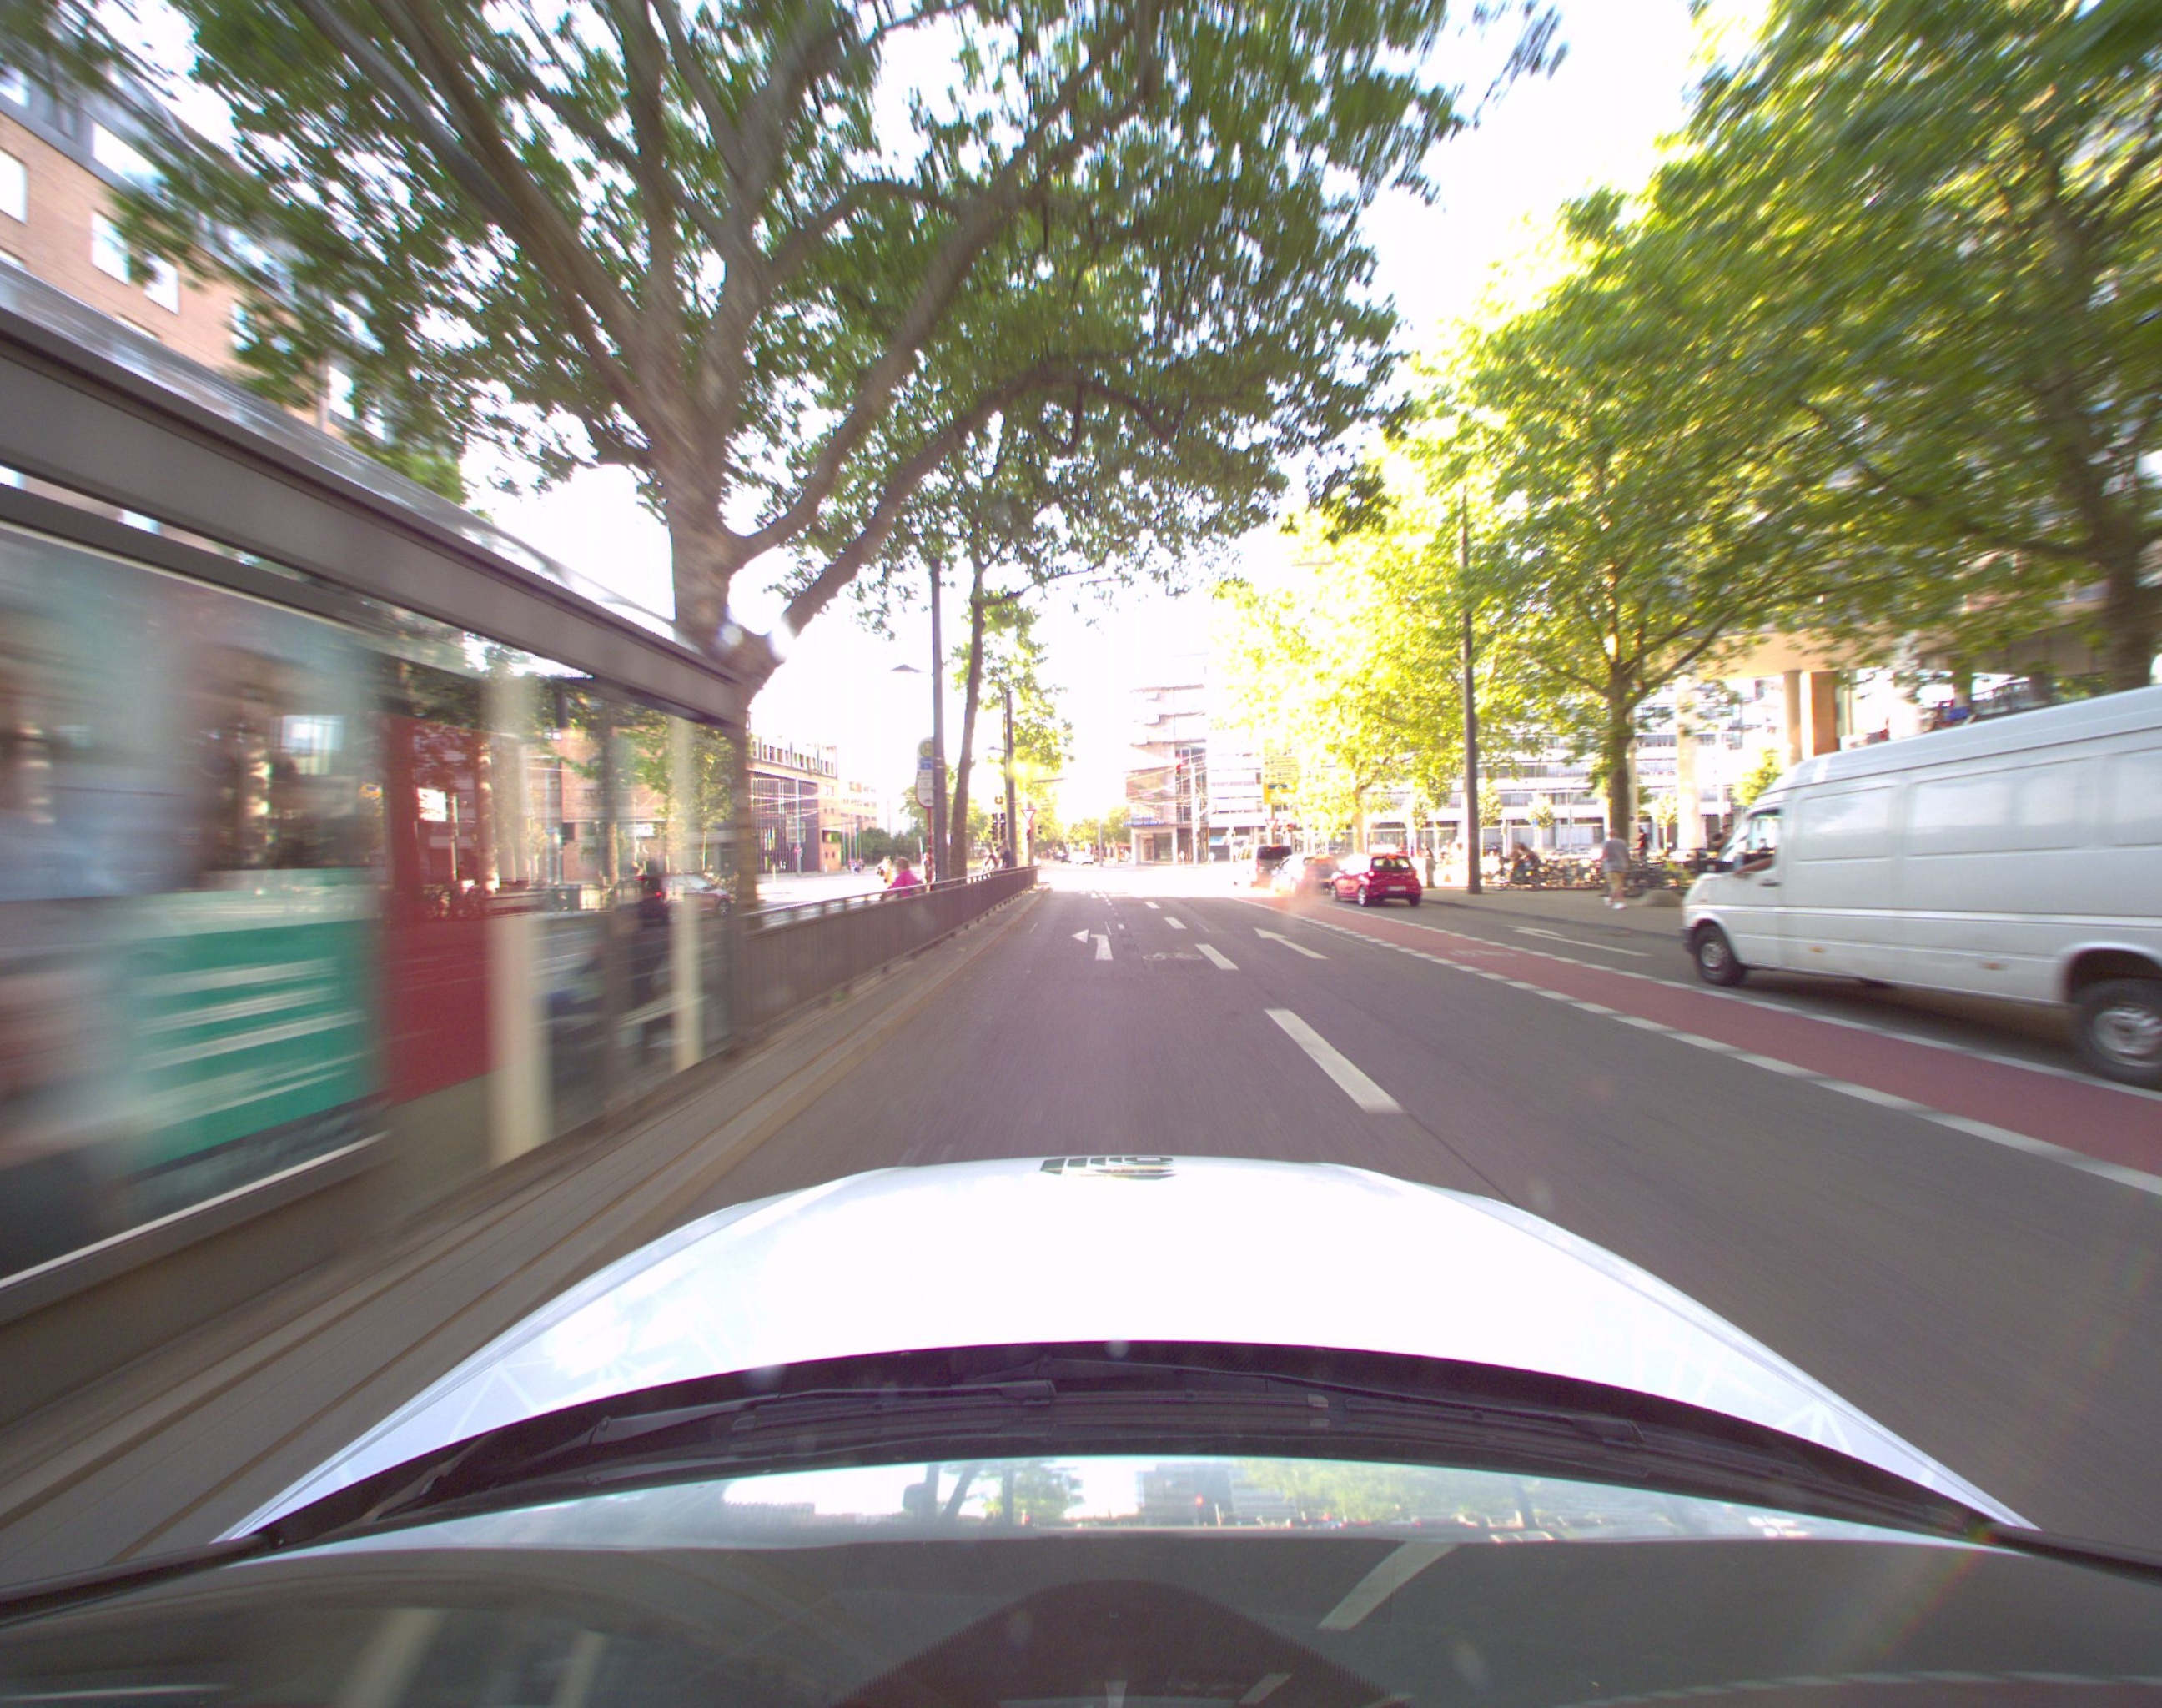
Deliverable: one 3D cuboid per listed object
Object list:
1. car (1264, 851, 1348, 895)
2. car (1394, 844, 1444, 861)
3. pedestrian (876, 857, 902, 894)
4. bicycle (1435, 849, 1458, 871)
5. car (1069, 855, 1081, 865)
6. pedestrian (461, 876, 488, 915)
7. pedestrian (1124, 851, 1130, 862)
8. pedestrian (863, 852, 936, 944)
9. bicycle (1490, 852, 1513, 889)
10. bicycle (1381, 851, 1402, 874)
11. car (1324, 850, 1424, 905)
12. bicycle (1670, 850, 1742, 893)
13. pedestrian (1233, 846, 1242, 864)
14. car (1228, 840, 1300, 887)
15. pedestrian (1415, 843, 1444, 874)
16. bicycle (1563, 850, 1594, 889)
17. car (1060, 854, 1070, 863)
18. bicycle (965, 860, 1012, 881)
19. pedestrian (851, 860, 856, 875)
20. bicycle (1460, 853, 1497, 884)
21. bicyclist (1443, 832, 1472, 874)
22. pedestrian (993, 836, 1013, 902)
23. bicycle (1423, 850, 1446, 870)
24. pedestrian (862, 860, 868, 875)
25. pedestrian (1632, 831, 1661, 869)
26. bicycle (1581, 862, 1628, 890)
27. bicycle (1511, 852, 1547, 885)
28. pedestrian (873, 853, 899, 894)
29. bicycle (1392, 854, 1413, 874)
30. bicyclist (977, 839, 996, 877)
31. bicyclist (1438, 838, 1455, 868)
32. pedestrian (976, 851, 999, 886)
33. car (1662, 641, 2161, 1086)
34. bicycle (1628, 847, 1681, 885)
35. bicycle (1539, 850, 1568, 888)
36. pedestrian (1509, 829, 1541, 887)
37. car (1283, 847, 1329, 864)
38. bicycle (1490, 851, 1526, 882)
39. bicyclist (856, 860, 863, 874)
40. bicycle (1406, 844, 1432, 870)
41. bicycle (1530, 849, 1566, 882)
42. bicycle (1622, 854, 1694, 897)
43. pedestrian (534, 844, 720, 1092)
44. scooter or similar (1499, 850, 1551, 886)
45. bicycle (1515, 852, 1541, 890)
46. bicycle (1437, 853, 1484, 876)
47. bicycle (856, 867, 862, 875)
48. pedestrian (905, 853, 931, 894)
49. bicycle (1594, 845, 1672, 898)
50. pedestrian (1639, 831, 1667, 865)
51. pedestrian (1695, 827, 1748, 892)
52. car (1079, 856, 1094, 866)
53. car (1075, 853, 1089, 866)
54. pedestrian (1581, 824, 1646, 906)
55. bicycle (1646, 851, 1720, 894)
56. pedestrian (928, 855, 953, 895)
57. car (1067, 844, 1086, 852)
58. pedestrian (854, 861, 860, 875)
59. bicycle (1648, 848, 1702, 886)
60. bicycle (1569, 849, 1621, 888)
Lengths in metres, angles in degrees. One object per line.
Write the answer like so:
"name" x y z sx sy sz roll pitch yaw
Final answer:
"car" 8.254 0.671 30.202 1.760 1.464 4.213 -2 0 -2
"car" 33.716 -0.148 81.295 4.221 1.560 1.798 -2 0 4
"pedestrian" -8.842 0.979 37.480 1.072 1.682 0.755 0 -1 -9
"bicycle" 20.074 0.317 44.726 0.563 1.126 1.781 -2 0 5
"car" -1.076 0.956 139.781 1.988 1.662 3.997 -2 0 -2
"pedestrian" -25.556 1.743 34.332 0.588 1.584 0.724 1 -1 -3
"pedestrian" 6.399 0.383 113.918 0.737 1.465 0.536 -2 0 -3
"pedestrian" -2.845 0.679 12.854 0.972 1.400 0.665 0 -1 3
"bicycle" 13.448 0.504 26.073 0.590 1.116 1.837 -2 0 26
"bicycle" 15.983 0.434 41.962 0.449 1.144 1.475 -2 0 -3
"car" 8.454 0.648 23.793 1.554 1.464 3.619 -1 0 -2
"bicycle" 15.810 0.439 20.648 0.500 1.032 1.654 -2 0 -1
"pedestrian" 14.993 0.104 77.976 0.716 1.682 0.558 0 -1 5
"car" 8.164 0.420 36.815 1.988 1.966 5.135 0 0 -1
"pedestrian" 20.510 0.249 47.990 1.207 1.822 1.039 0 -1 -7
"bicycle" 15.102 0.447 24.741 0.601 1.116 1.837 -2 0 26
"car" -3.152 0.965 161.474 1.988 1.662 3.997 -2 0 -2
"bicycle" -4.440 0.797 39.106 2.175 0.933 0.666 -1 0 -7
"pedestrian" -25.836 1.557 92.450 0.538 1.650 0.621 -2 0 -20
"bicycle" 14.343 0.502 29.411 0.625 1.057 1.574 -2 0 5
"bicyclist" 16.299 -0.042 35.289 0.751 1.767 0.849 -2 0 -12
"pedestrian" -2.273 0.427 23.914 0.508 1.900 0.759 0 -1 0
"bicycle" 18.201 0.307 41.962 0.449 0.983 1.475 -2 0 -3
"pedestrian" -24.718 1.563 93.126 0.538 1.650 0.621 -2 0 -20
"pedestrian" 27.258 -0.180 39.237 0.851 1.820 0.859 0 -1 -29
"bicycle" 15.251 0.645 23.737 1.098 0.760 0.402 -2 0 26
"bicycle" 16.180 0.513 29.448 0.419 1.159 1.475 -2 0 -3
"pedestrian" -9.138 0.898 38.197 1.073 1.871 0.736 0 -1 -9
"bicycle" 16.614 0.506 42.120 0.449 0.983 1.475 -2 0 -3
"bicyclist" -4.526 0.204 39.093 0.848 1.785 0.751 -2 0 -7
"bicyclist" 20.060 -0.071 44.714 0.559 1.616 0.823 -2 0 5
"pedestrian" -4.589 0.712 39.898 1.071 1.715 0.627 0 -1 -5
"car" 7.817 0.062 6.750 1.983 2.724 6.574 0 0 7
"bicycle" 17.907 0.364 25.448 0.420 1.159 1.472 -2 0 -9
"bicycle" 14.495 0.442 25.006 0.590 1.116 1.837 -2 0 26
"pedestrian" 13.892 0.127 25.507 0.799 1.786 0.661 -2 0 25
"car" 22.842 0.169 82.671 4.221 1.602 1.798 -2 0 4
"bicycle" 15.386 0.434 29.374 0.419 1.081 1.475 -2 0 -3
"bicyclist" -27.119 1.548 99.728 0.593 1.675 0.787 -2 0 -8
"bicycle" 17.438 0.136 42.057 0.449 1.286 1.885 -2 0 -3
"bicycle" 16.895 0.418 29.515 0.419 1.159 1.476 -2 0 -1
"bicycle" 14.507 0.517 20.517 0.594 1.032 1.654 -2 0 -2
"pedestrian" -2.700 0.640 4.906 0.731 1.387 0.641 0 -1 3
"scooter or similar" 14.763 0.482 27.106 1.255 1.142 0.911 2 -3 -15
"bicycle" 13.925 0.508 25.416 0.590 1.116 1.961 -2 0 26
"bicycle" 16.343 0.448 35.111 0.666 0.933 2.175 -1 0 -12
"bicycle" -27.208 2.062 99.662 0.512 0.881 1.833 -2 0 -9
"pedestrian" -7.646 0.918 38.273 1.145 1.894 0.830 0 -1 -9
"bicycle" 13.835 0.418 20.476 0.594 1.264 1.875 -2 0 -1
"pedestrian" 28.819 -0.287 41.051 0.850 1.682 0.860 0 -1 -27
"pedestrian" 17.679 0.146 22.508 0.814 1.757 0.772 -2 0 4
"car" 0.751 0.944 117.645 1.988 1.332 3.997 -2 0 -2
"car" 0.175 0.809 124.554 1.988 1.991 3.997 -2 0 -2
"pedestrian" 11.948 0.240 18.307 0.869 1.786 0.808 -2 0 -1
"bicycle" 15.175 0.446 20.568 0.594 1.032 1.654 -2 0 -2
"pedestrian" -6.483 0.979 37.608 1.071 1.806 0.755 0 -1 -9
"car" -0.952 -1.302 174.998 3.735 1.750 1.788 0 -1 13
"pedestrian" -25.811 1.605 93.767 0.538 1.650 0.621 -2 0 -20
"bicycle" 18.536 0.397 25.440 0.420 1.159 1.472 -2 0 -9
"bicycle" 15.954 0.448 25.304 0.478 1.159 1.472 -2 0 -9
